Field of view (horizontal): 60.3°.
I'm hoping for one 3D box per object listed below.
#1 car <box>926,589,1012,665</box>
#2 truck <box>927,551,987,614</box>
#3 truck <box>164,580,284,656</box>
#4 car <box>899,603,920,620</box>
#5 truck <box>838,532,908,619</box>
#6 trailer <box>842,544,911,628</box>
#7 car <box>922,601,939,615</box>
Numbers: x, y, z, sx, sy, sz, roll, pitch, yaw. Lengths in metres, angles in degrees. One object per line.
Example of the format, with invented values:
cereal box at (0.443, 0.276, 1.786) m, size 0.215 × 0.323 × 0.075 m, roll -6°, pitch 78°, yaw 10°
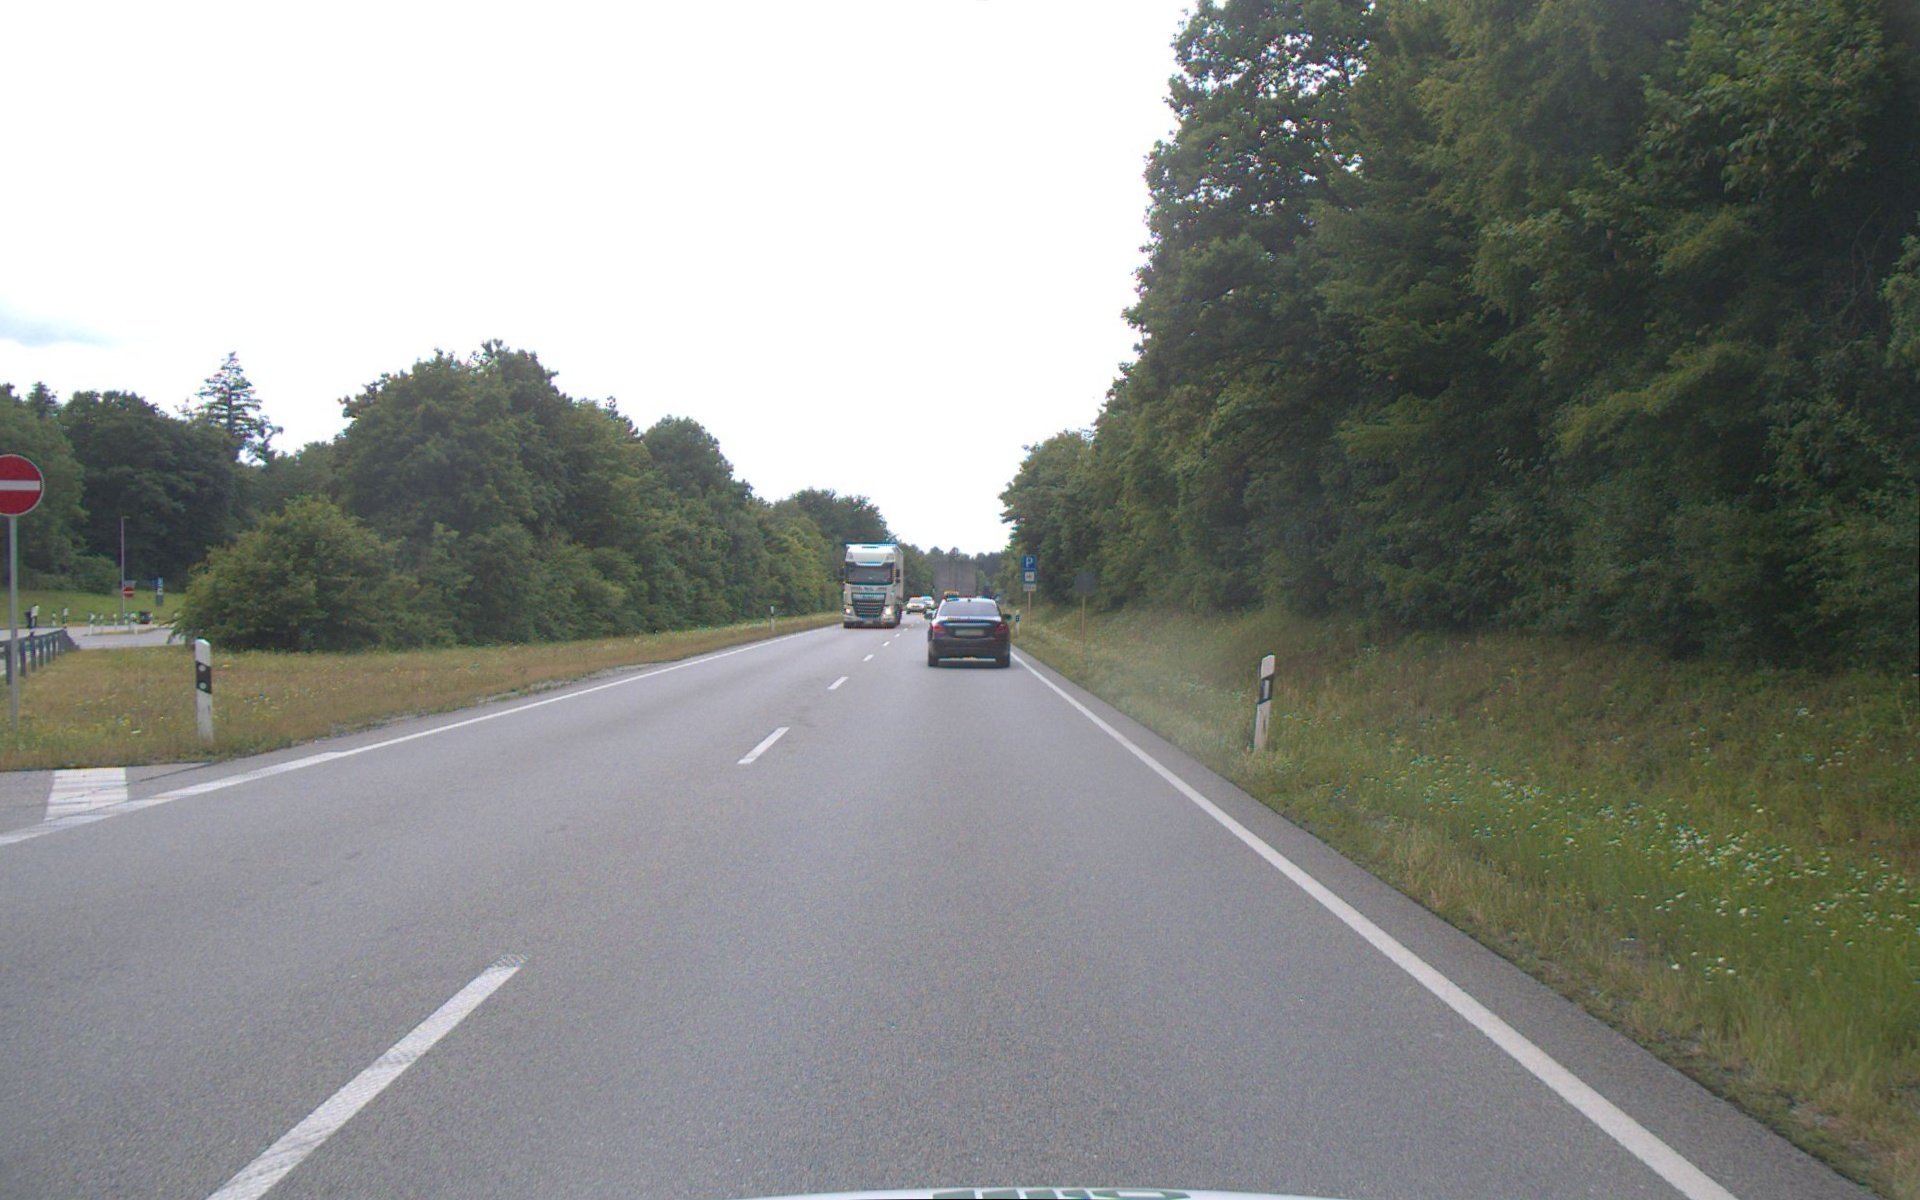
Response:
car at (0.154, 0.574, 37.063) m, size 1.755 × 1.579 × 3.998 m, roll 1°, pitch 0°, yaw -2°
truck at (-0.085, -0.999, 103.778) m, size 3.213 × 3.675 × 11.402 m, roll 1°, pitch 0°, yaw 2°
truck at (-31.331, 0.746, 70.723) m, size 1.953 × 3.065 × 7.225 m, roll 1°, pitch 0°, yaw -1°
car at (-4.495, 1.007, 147.663) m, size 1.690 × 1.459 × 4.502 m, roll 1°, pitch 0°, yaw -1°
truck at (-4.332, -1.140, 84.214) m, size 3.125 × 4.133 × 9.574 m, roll 1°, pitch 0°, yaw -1°
trailer at (-4.382, -0.684, 89.855) m, size 3.138 × 4.138 × 14.269 m, roll 1°, pitch 0°, yaw -1°
car at (-3.452, 0.930, 193.363) m, size 1.924 × 1.601 × 5.451 m, roll 1°, pitch 0°, yaw 0°
